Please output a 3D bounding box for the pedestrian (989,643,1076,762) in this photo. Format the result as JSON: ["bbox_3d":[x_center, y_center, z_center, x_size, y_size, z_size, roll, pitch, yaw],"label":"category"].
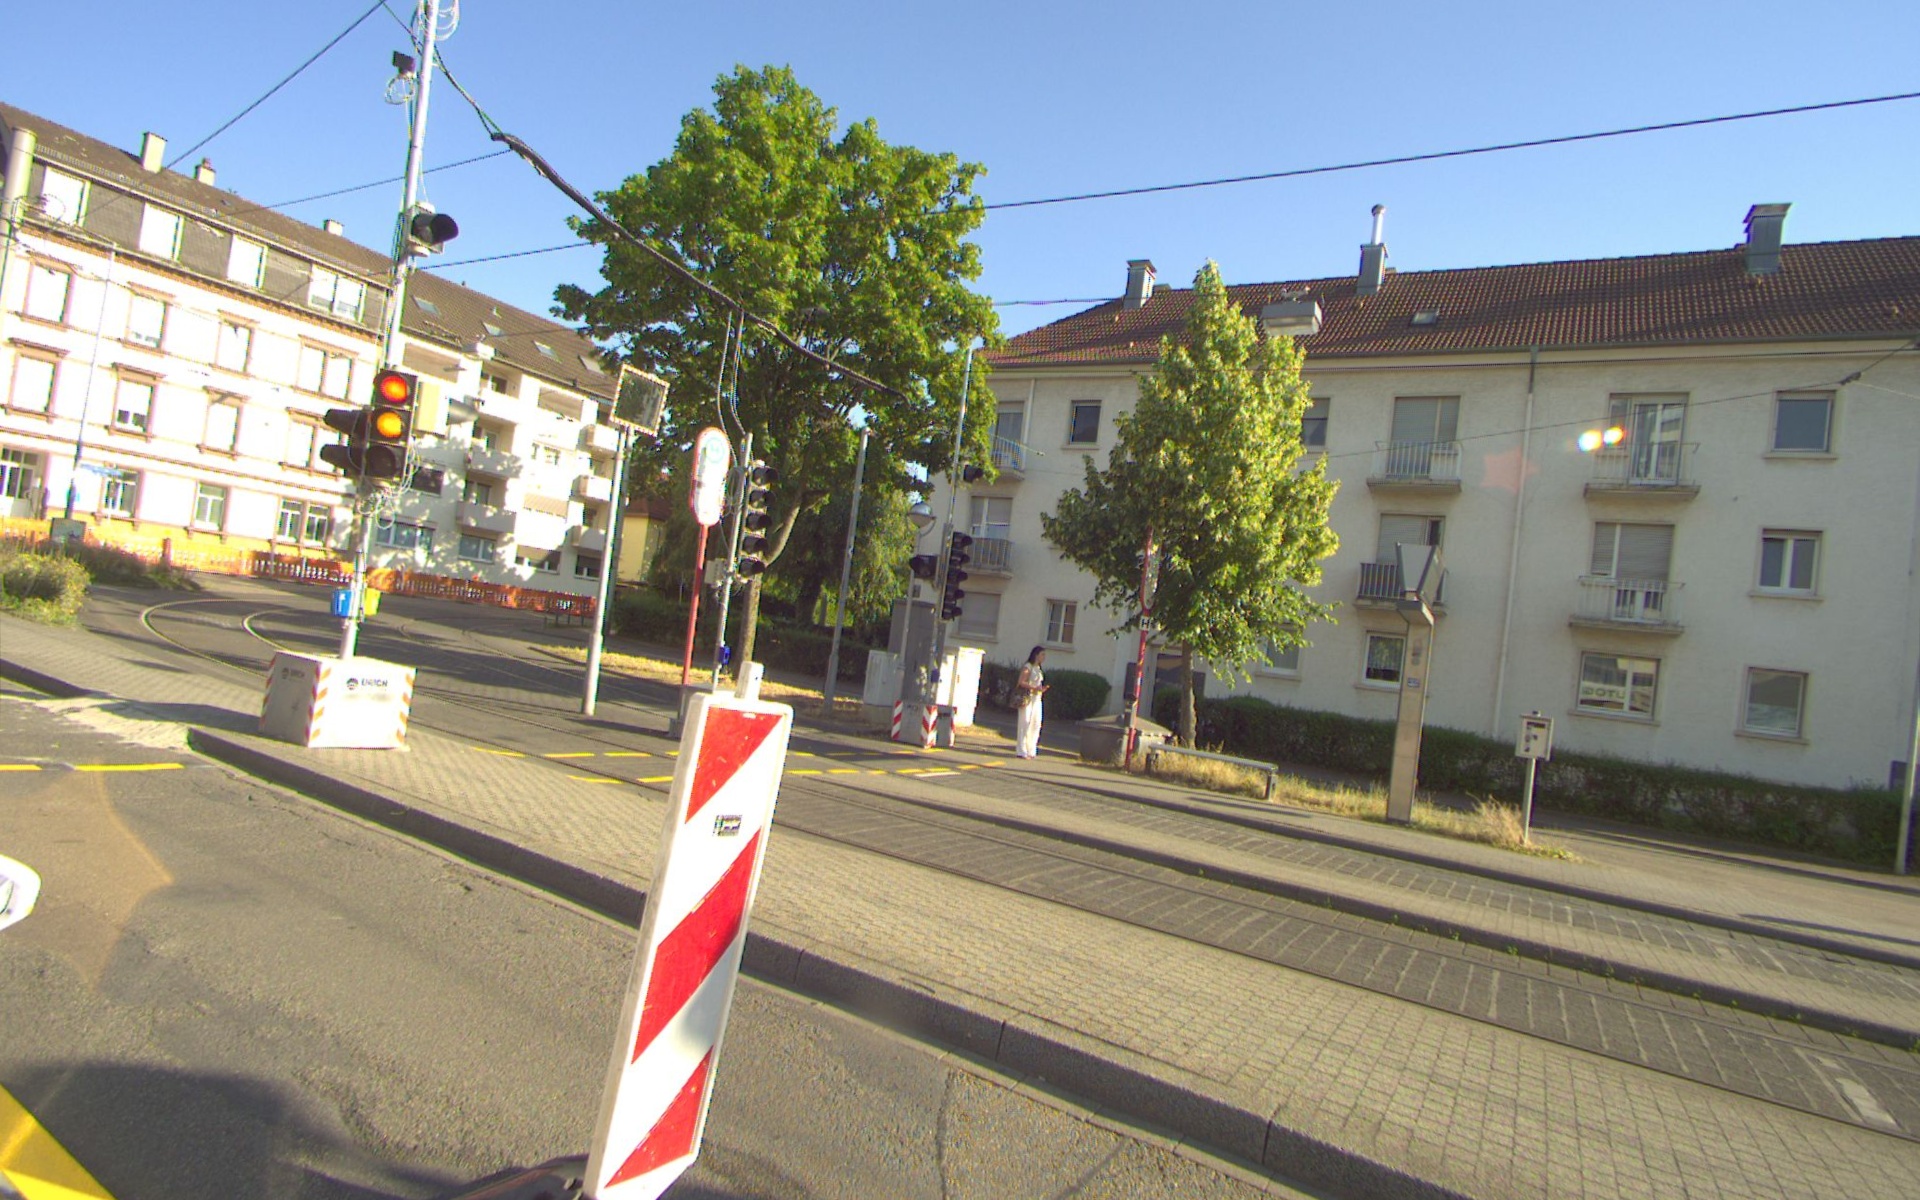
[{"bbox_3d":[1.083,1.538,15.112,0.819,1.639,0.784,8,-1,-34],"label":"pedestrian"}]
